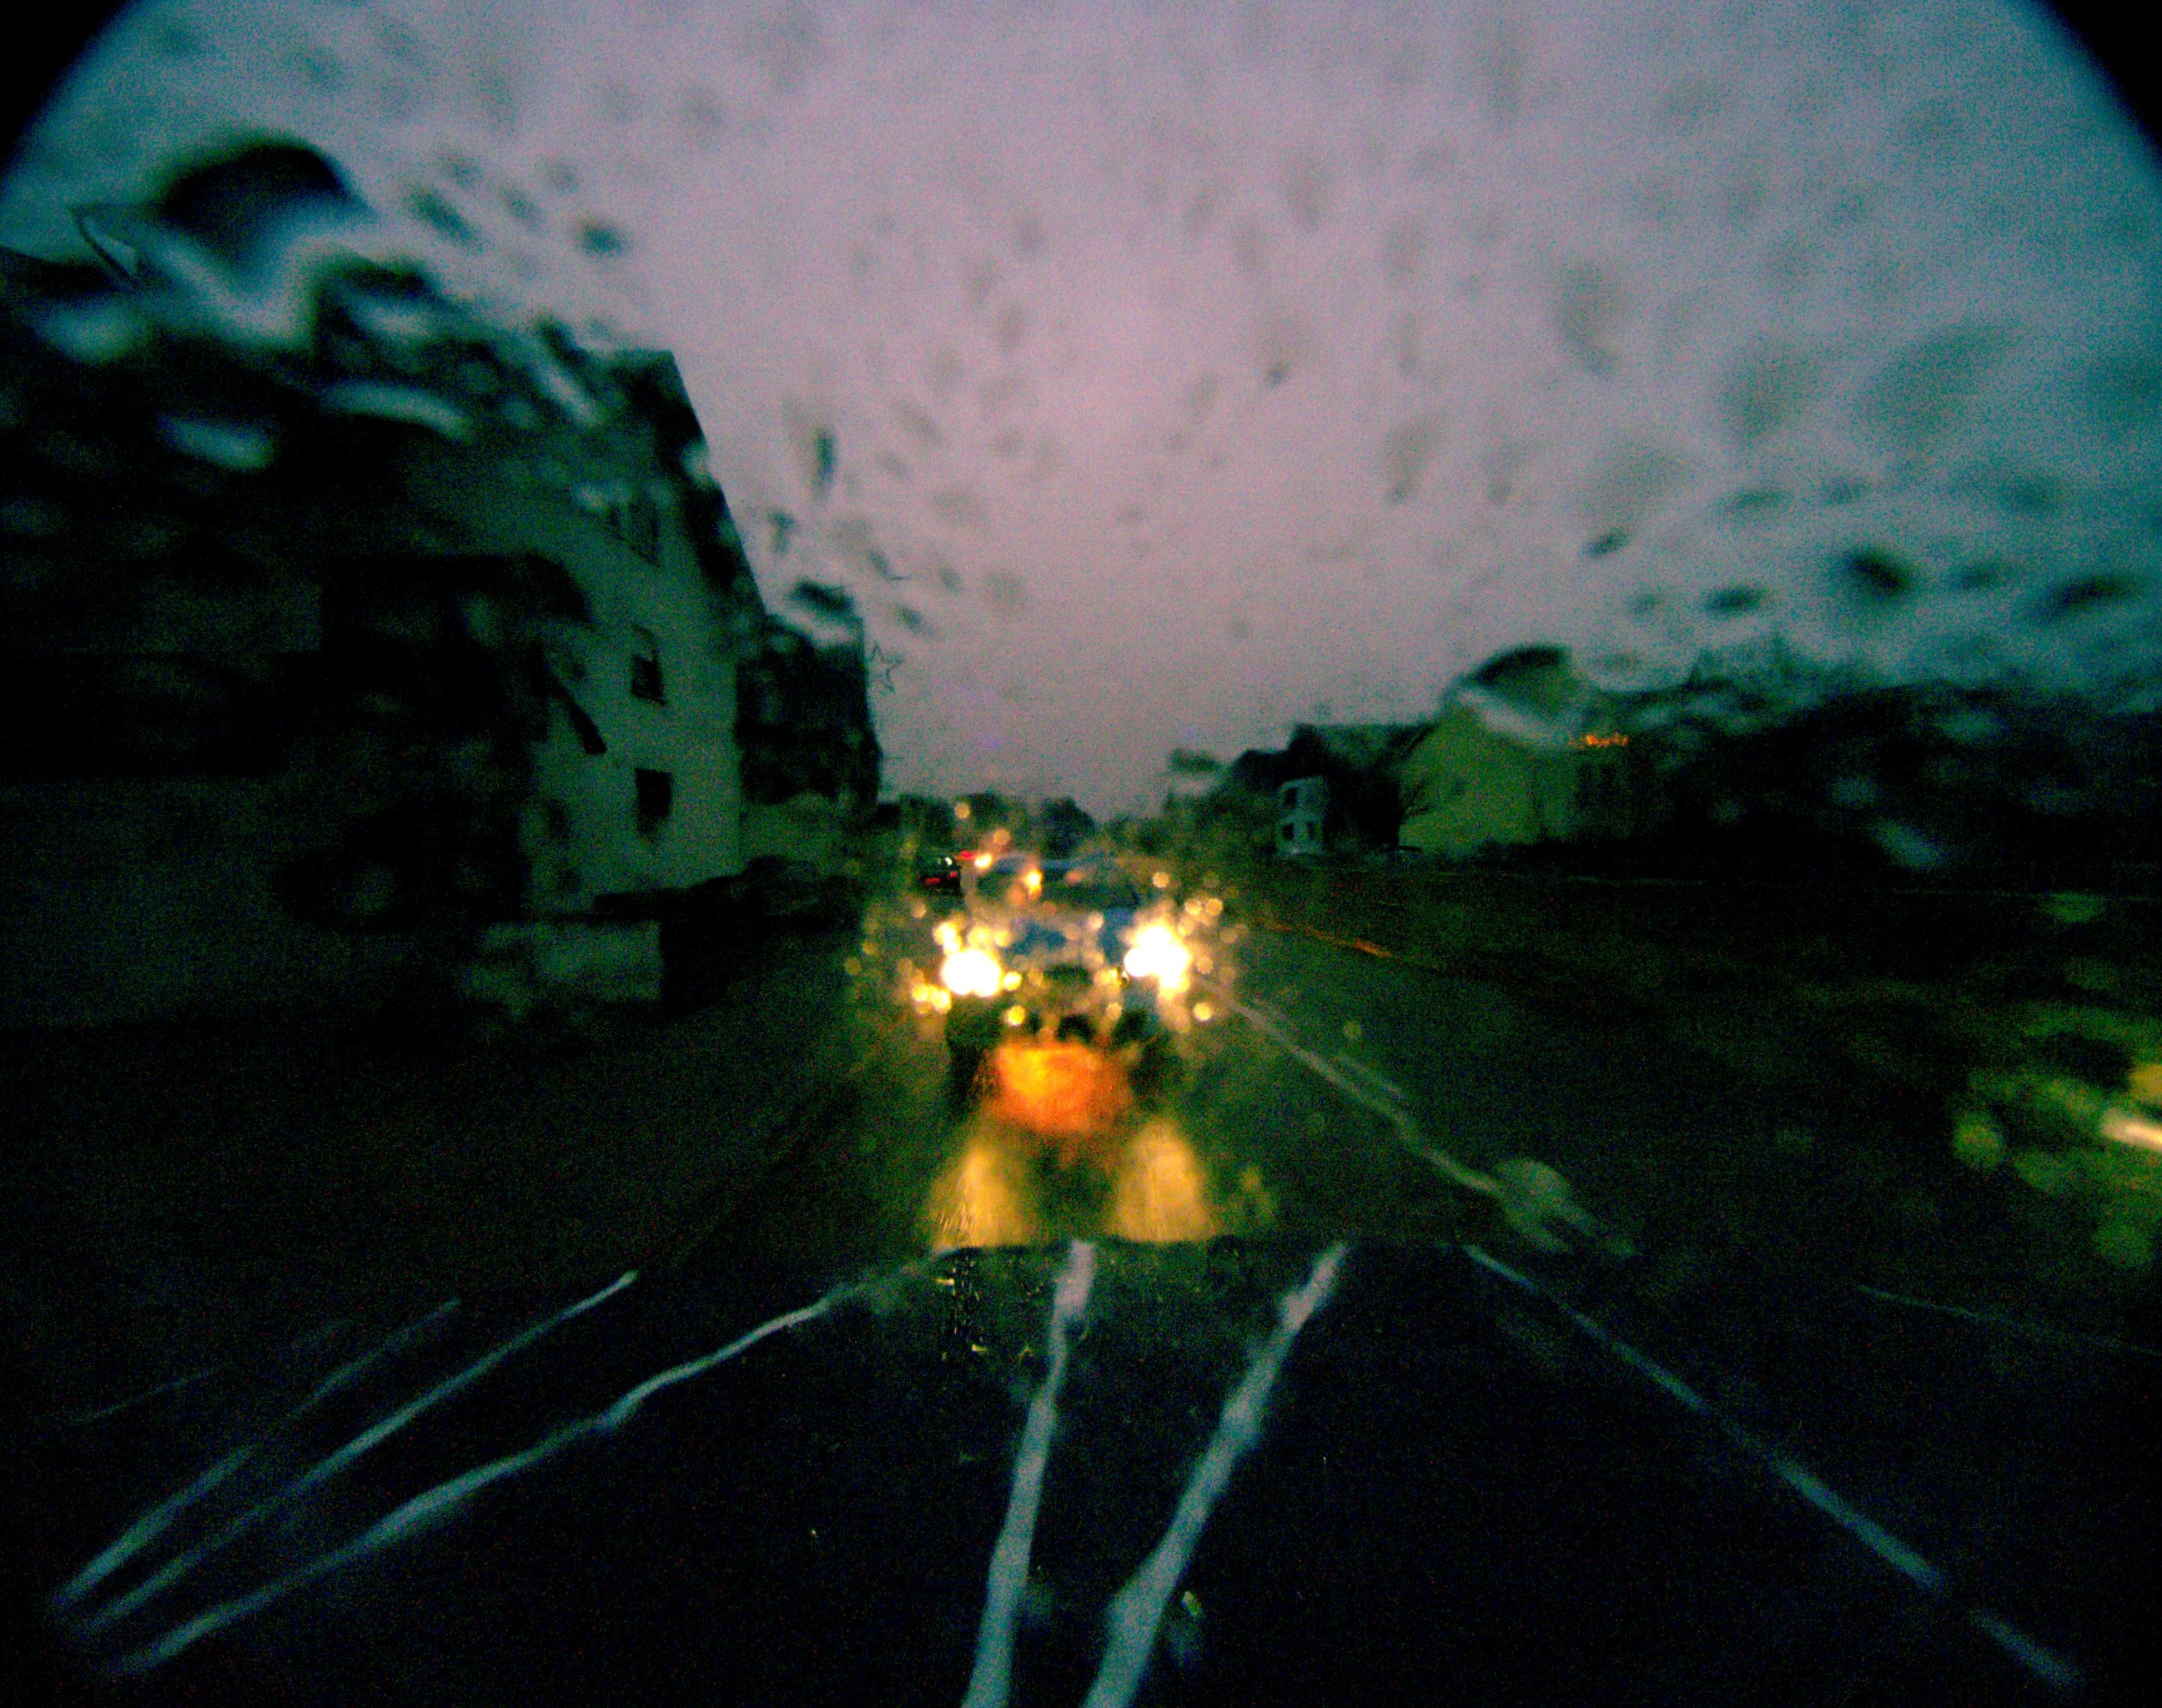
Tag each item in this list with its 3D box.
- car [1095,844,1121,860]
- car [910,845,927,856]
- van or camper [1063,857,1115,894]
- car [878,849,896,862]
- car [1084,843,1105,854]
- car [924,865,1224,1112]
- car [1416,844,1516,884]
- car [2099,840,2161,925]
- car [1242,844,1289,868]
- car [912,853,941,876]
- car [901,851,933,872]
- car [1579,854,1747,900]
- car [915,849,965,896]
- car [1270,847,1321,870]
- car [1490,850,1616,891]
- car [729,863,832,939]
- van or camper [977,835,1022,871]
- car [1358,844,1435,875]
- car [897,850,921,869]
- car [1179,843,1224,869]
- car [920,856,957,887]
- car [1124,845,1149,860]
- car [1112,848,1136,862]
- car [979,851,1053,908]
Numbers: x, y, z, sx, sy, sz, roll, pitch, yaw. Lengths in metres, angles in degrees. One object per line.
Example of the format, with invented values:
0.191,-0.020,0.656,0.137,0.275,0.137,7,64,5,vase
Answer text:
3.552,-0.308,100.885,2.001,1.894,4.350,-4,2,-19,car
-24.146,-0.553,113.075,1.670,1.626,3.543,-2,1,-25,car
0.265,0.801,30.088,1.567,1.347,3.419,0,0,-8,van or camper
-24.468,0.202,95.704,1.814,1.555,4.297,-1,1,-18,car
1.842,-0.785,106.030,1.682,1.406,3.827,-4,3,-17,car
-0.147,0.948,7.241,1.999,1.526,3.998,-3,0,-3,car
18.104,0.472,35.982,1.880,1.768,4.497,1,0,-11,car
21.039,0.559,13.121,1.570,1.571,3.817,1,1,-8,car
13.792,0.128,57.008,1.865,1.672,3.995,-4,2,-12,car
-10.675,0.672,52.308,1.658,1.446,4.232,1,0,-15,car
-13.550,0.616,62.586,1.964,1.524,5.001,-4,2,-17,car
19.637,0.722,25.940,1.880,1.425,4.498,1,0,-9,car
-5.674,0.691,30.994,1.775,1.771,3.997,2,0,-8,car
14.919,0.280,53.025,1.775,1.515,4.026,-1,1,-12,car
19.028,0.636,30.887,1.880,1.563,4.498,1,0,-9,car
-6.409,0.925,16.560,1.772,1.385,3.907,1,0,-17,car
-6.417,-0.063,59.138,2.249,2.653,6.545,-1,0,-17,van or camper
17.181,0.302,41.653,1.880,1.589,4.221,1,0,-11,car
-15.672,0.479,69.103,1.671,1.567,4.489,-1,1,-17,car
8.692,0.099,55.169,1.806,1.793,3.855,-1,1,-15,car
-6.923,0.832,36.667,1.651,1.407,2.724,1,0,-12,car
6.462,-0.135,88.769,1.823,1.615,3.980,-4,1,-12,car
5.320,0.104,93.688,1.903,1.509,3.994,-4,3,-12,car
-2.244,0.841,24.993,1.908,1.630,4.563,-2,-2,-11,car
